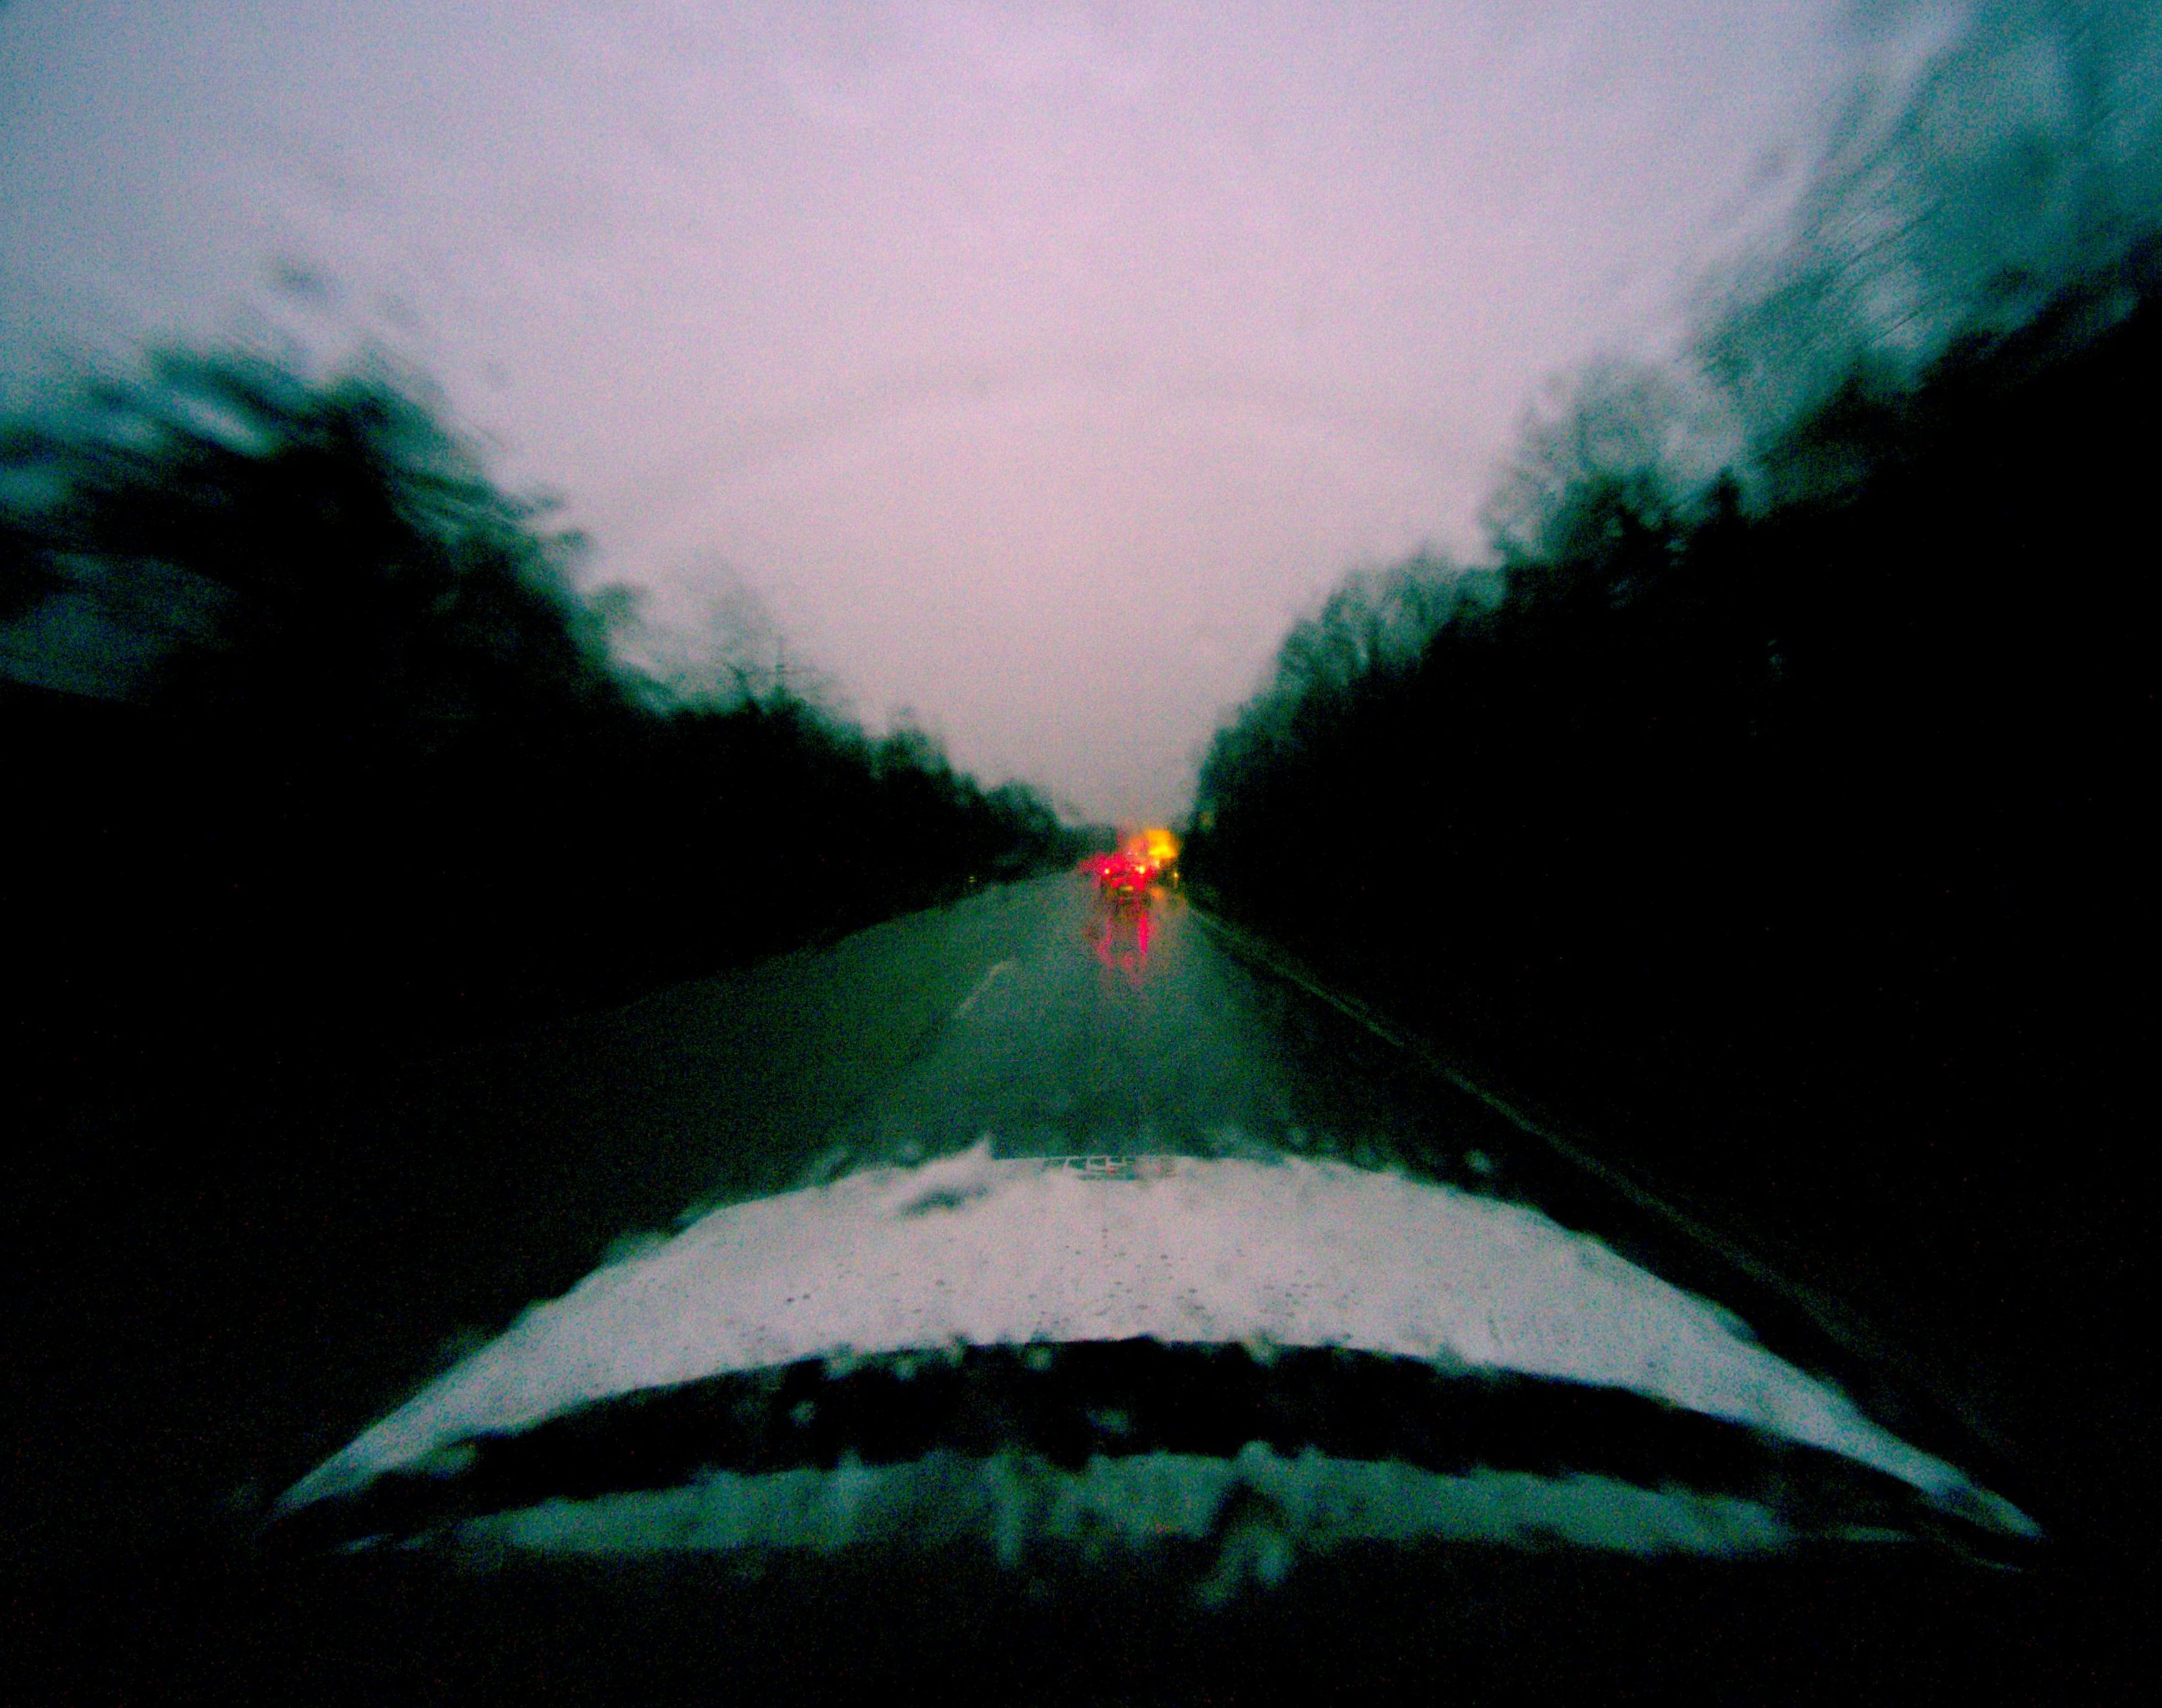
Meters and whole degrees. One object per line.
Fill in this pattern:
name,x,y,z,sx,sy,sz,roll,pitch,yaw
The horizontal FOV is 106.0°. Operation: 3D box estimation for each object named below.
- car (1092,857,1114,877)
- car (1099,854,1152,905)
car,1.925,1.078,70.704,1.720,1.643,4.003,-1,0,3
car,1.561,0.849,28.806,1.720,1.643,4.003,-1,0,3
